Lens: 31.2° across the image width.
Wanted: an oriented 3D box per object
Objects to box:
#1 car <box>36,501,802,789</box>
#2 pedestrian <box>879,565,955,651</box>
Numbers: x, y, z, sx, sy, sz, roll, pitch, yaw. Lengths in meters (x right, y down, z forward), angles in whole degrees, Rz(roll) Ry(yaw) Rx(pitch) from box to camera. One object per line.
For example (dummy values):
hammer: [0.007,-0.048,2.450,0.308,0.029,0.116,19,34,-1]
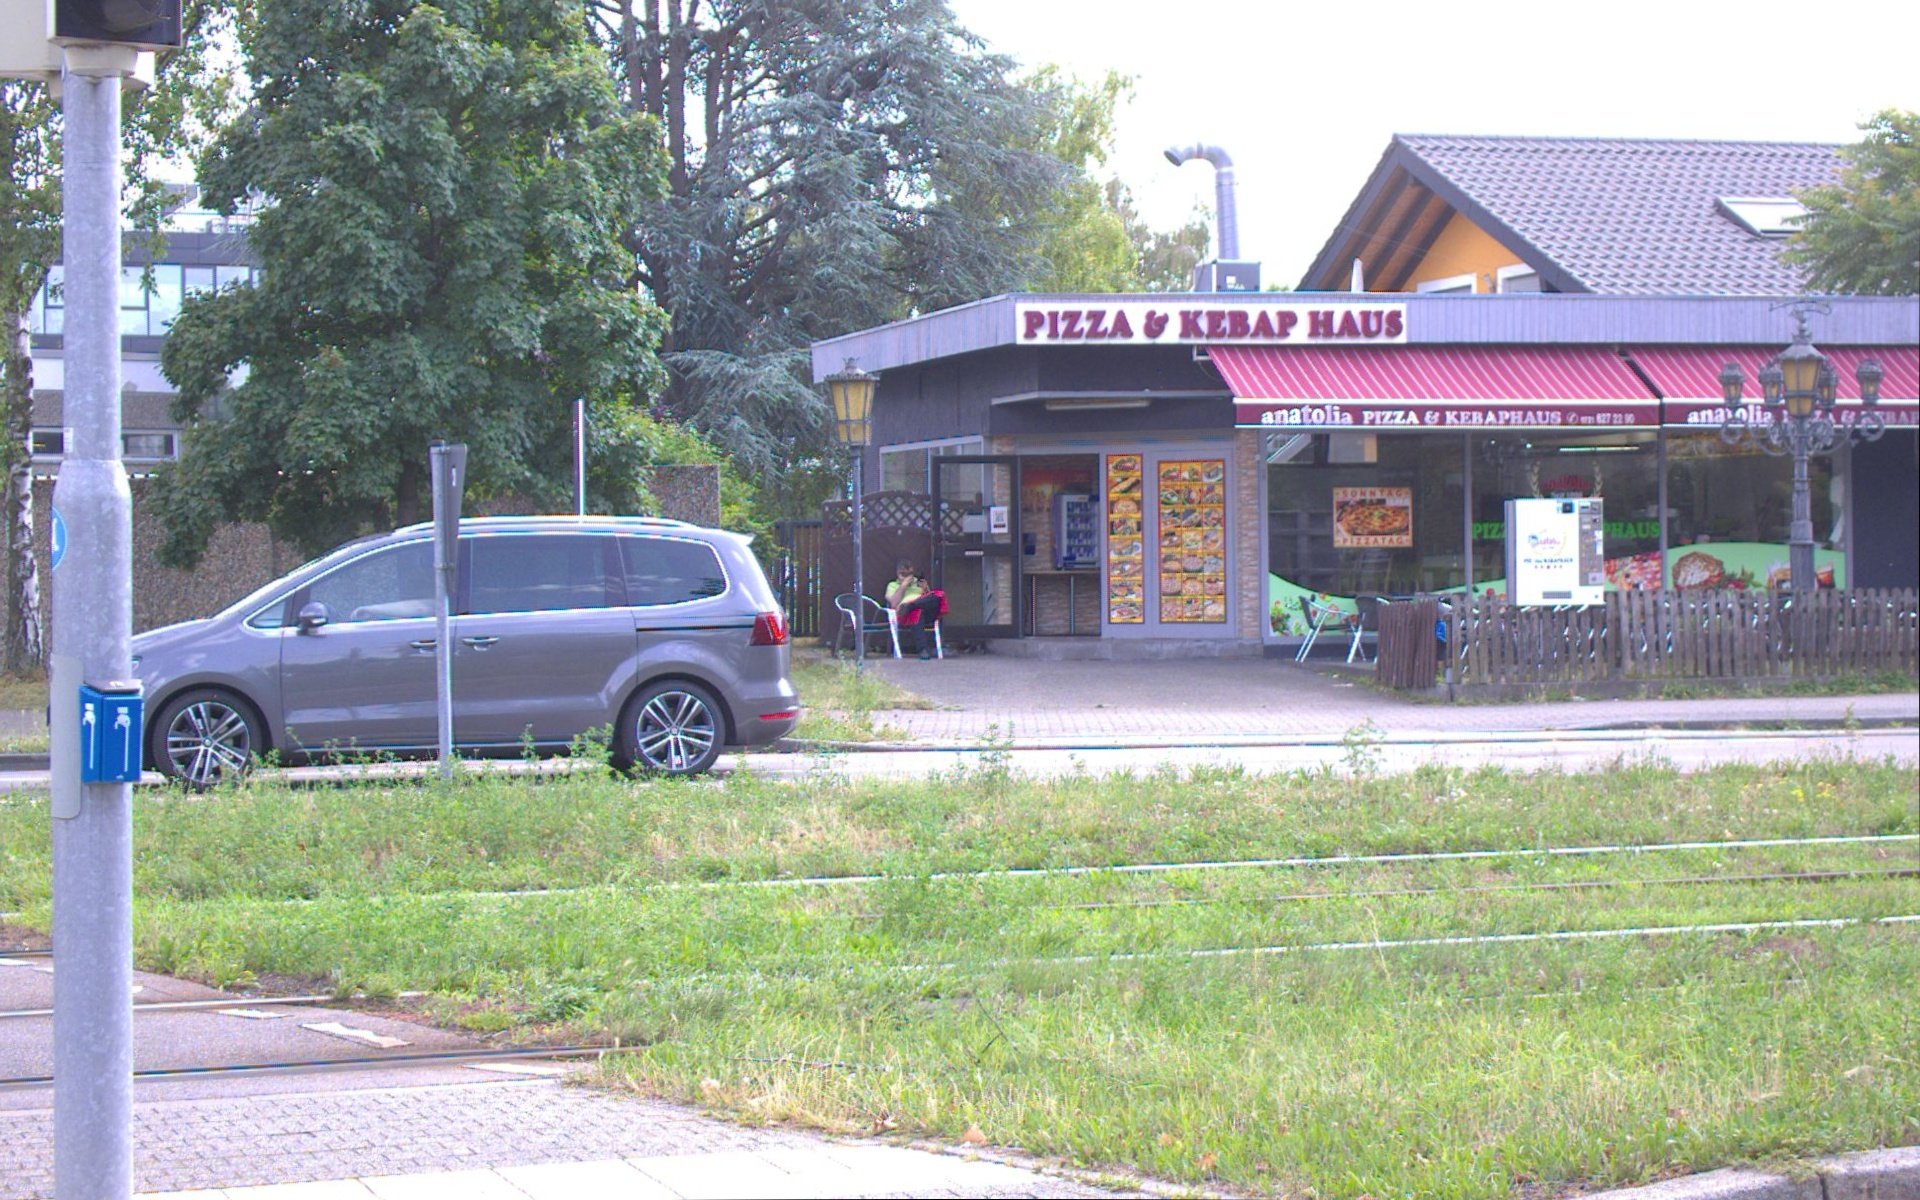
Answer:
car: [-3.555,0.241,22.405,4.723,1.716,2.001,-1,1,-14]
pedestrian: [-0.488,0.082,38.478,0.724,0.926,0.777,0,3,-10]
